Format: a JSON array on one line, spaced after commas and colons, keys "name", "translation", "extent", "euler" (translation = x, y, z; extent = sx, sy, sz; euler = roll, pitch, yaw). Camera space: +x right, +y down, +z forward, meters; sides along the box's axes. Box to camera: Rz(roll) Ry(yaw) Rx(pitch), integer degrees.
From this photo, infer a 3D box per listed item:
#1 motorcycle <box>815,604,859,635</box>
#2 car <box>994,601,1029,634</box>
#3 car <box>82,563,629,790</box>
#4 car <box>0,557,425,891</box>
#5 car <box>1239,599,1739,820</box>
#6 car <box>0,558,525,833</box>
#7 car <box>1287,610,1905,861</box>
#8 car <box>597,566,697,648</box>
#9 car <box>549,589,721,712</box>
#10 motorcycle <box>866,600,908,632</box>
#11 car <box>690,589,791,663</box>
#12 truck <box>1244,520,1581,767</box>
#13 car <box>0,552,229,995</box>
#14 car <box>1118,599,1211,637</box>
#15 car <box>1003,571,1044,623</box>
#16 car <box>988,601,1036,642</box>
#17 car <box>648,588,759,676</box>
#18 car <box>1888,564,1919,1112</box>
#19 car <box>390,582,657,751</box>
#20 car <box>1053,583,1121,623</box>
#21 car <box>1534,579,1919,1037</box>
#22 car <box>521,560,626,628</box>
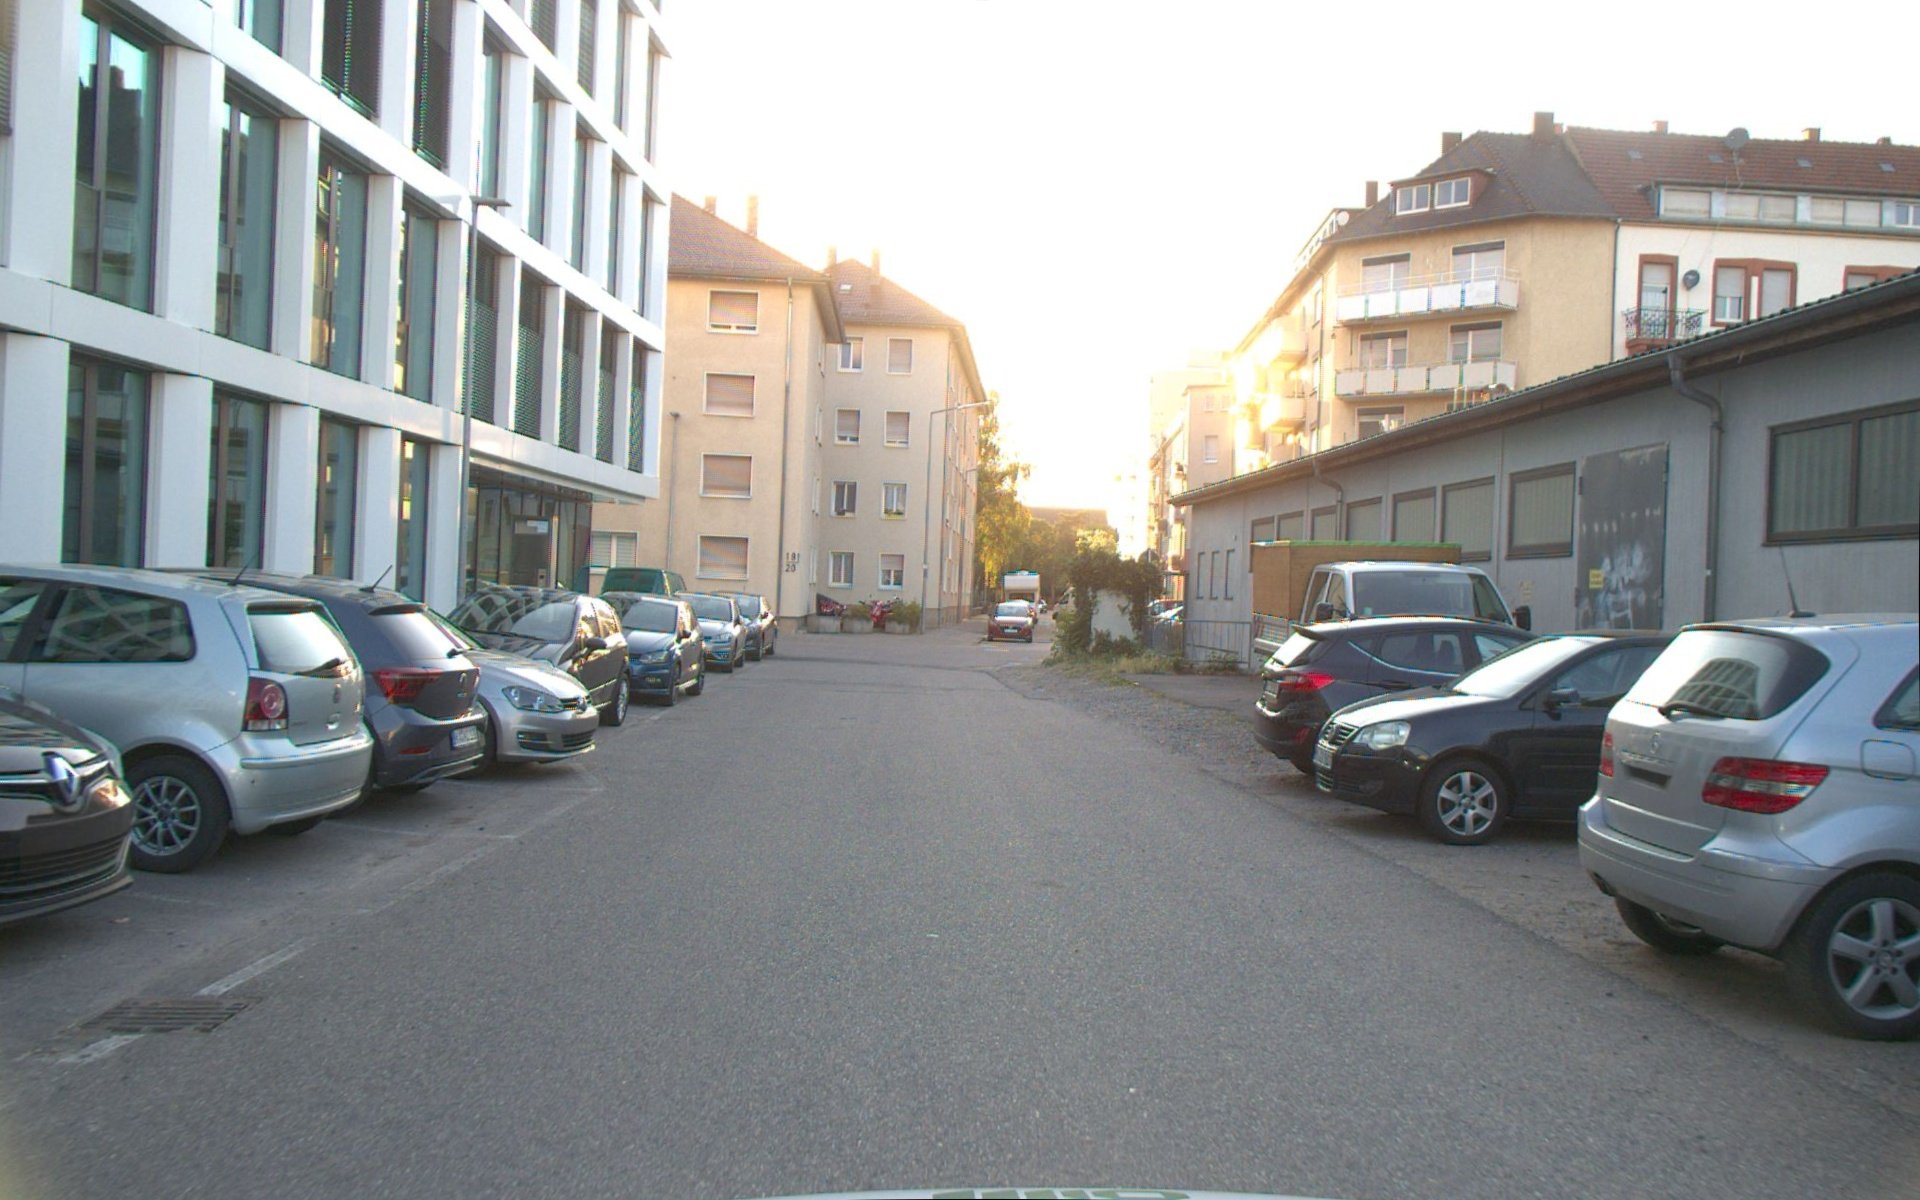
[{"name": "motorcycle", "translation": [-4.531, 0.713, 61.091], "extent": [0.709, 1.098, 2.080], "euler": [2, 0, 23]}, {"name": "car", "translation": [2.423, 0.824, 78.241], "extent": [1.582, 1.499, 3.505], "euler": [1, 0, 1]}, {"name": "car", "translation": [-4.909, 0.588, 13.778], "extent": [3.845, 1.537, 1.688], "euler": [3, 0, 2]}, {"name": "car", "translation": [-5.049, 0.564, 9.085], "extent": [3.579, 1.537, 1.688], "euler": [3, 0, 2]}, {"name": "car", "translation": [4.444, 0.889, 14.356], "extent": [3.682, 1.562, 1.892], "euler": [3, 1, 1]}, {"name": "car", "translation": [-5.032, 0.583, 11.292], "extent": [3.579, 1.537, 1.688], "euler": [3, 0, 2]}, {"name": "car", "translation": [4.427, 0.915, 11.922], "extent": [3.684, 1.469, 1.844], "euler": [3, -1, -2]}, {"name": "car", "translation": [-8.297, 0.144, 44.245], "extent": [1.761, 2.014, 4.689], "euler": [2, 1, -1]}, {"name": "car", "translation": [-4.573, 0.661, 23.857], "extent": [1.615, 1.463, 4.183], "euler": [6, 0, -1]}, {"name": "motorcycle", "translation": [-2.801, 0.611, 63.518], "extent": [0.675, 1.180, 2.031], "euler": [2, 0, 27]}, {"name": "car", "translation": [-5.162, 0.587, 39.438], "extent": [1.744, 1.504, 4.330], "euler": [6, 0, -1]}, {"name": "truck", "translation": [4.738, 0.413, 18.368], "extent": [2.055, 2.239, 5.710], "euler": [2, 0, -1]}, {"name": "car", "translation": [-5.258, 0.509, 6.514], "extent": [3.882, 1.537, 1.796], "euler": [3, 0, 2]}, {"name": "car", "translation": [10.633, 0.926, 86.156], "extent": [4.624, 1.943, 2.060], "euler": [1, -1, 2]}, {"name": "car", "translation": [4.323, -0.201, 110.915], "extent": [2.565, 3.326, 7.699], "euler": [1, 0, 3]}, {"name": "car", "translation": [2.036, 0.843, 65.444], "extent": [1.807, 1.499, 4.079], "euler": [2, 0, 1]}, {"name": "car", "translation": [-5.105, 0.597, 33.377], "extent": [1.677, 1.504, 4.182], "euler": [6, 0, -3]}, {"name": "car", "translation": [4.909, 0.829, 4.346], "extent": [3.905, 1.647, 1.826], "euler": [3, 0, -4]}, {"name": "car", "translation": [-4.581, 0.635, 18.003], "extent": [1.615, 1.463, 4.202], "euler": [6, 0, 1]}, {"name": "car", "translation": [8.939, 0.227, 116.820], "extent": [2.114, 2.765, 4.767], "euler": [1, 0, -38]}, {"name": "car", "translation": [4.777, 0.851, 7.060], "extent": [3.904, 1.637, 1.938], "euler": [3, 0, -2]}, {"name": "car", "translation": [-10.249, -0.110, 44.121], "extent": [1.743, 1.577, 4.330], "euler": [2, -2, 0]}]
